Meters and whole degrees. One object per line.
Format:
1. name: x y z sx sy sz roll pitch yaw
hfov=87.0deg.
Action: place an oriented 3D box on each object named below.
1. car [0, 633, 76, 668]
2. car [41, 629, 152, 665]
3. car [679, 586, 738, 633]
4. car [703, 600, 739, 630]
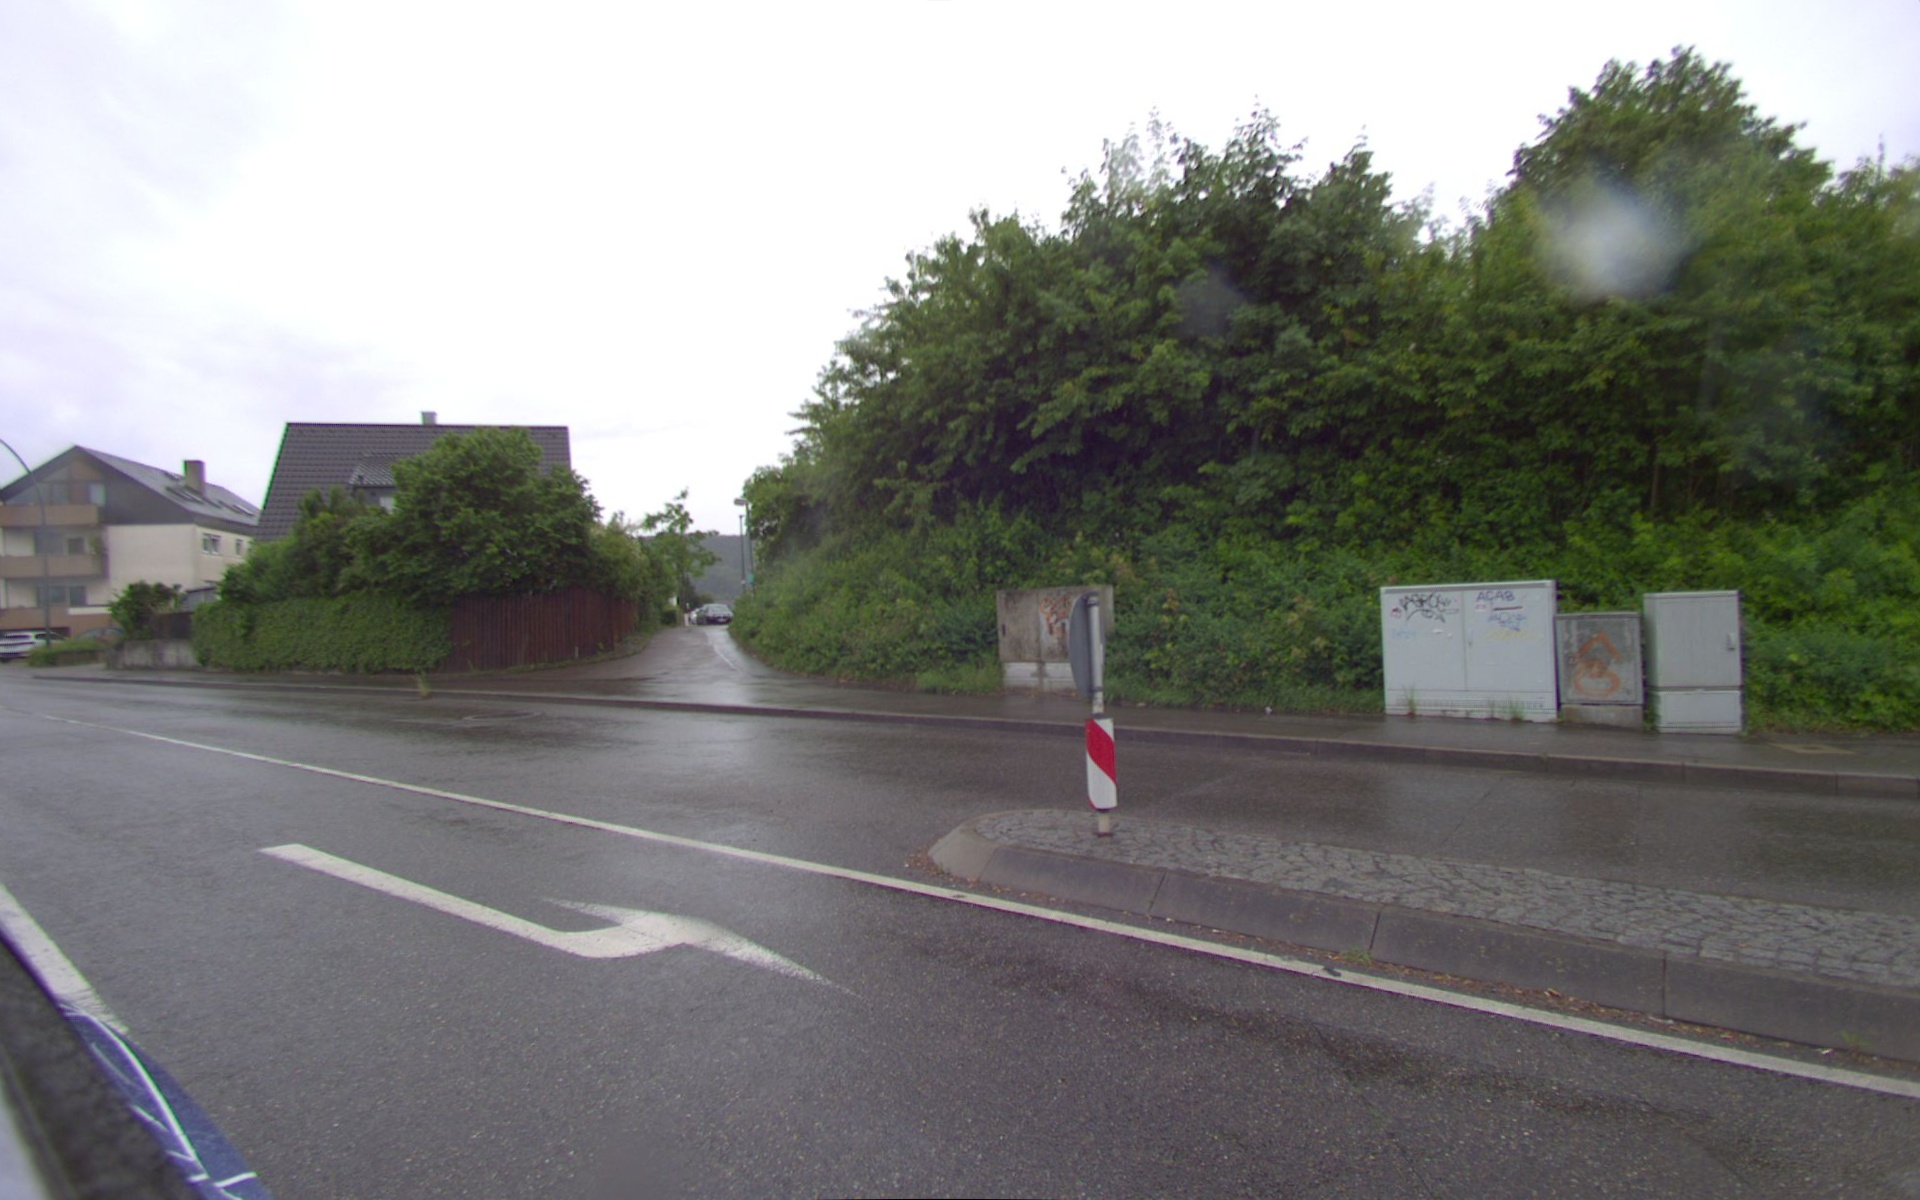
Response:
1. car: -46.797 2.525 51.049 1.837 1.530 4.012 -2 0 -18
2. car: -41.320 2.241 48.494 3.609 1.530 1.759 -2 0 -15
3. car: -9.163 0.351 37.056 1.683 1.600 3.668 -1 0 -8
4. car: -15.575 0.969 66.178 1.968 1.873 4.008 -2 0 -9
